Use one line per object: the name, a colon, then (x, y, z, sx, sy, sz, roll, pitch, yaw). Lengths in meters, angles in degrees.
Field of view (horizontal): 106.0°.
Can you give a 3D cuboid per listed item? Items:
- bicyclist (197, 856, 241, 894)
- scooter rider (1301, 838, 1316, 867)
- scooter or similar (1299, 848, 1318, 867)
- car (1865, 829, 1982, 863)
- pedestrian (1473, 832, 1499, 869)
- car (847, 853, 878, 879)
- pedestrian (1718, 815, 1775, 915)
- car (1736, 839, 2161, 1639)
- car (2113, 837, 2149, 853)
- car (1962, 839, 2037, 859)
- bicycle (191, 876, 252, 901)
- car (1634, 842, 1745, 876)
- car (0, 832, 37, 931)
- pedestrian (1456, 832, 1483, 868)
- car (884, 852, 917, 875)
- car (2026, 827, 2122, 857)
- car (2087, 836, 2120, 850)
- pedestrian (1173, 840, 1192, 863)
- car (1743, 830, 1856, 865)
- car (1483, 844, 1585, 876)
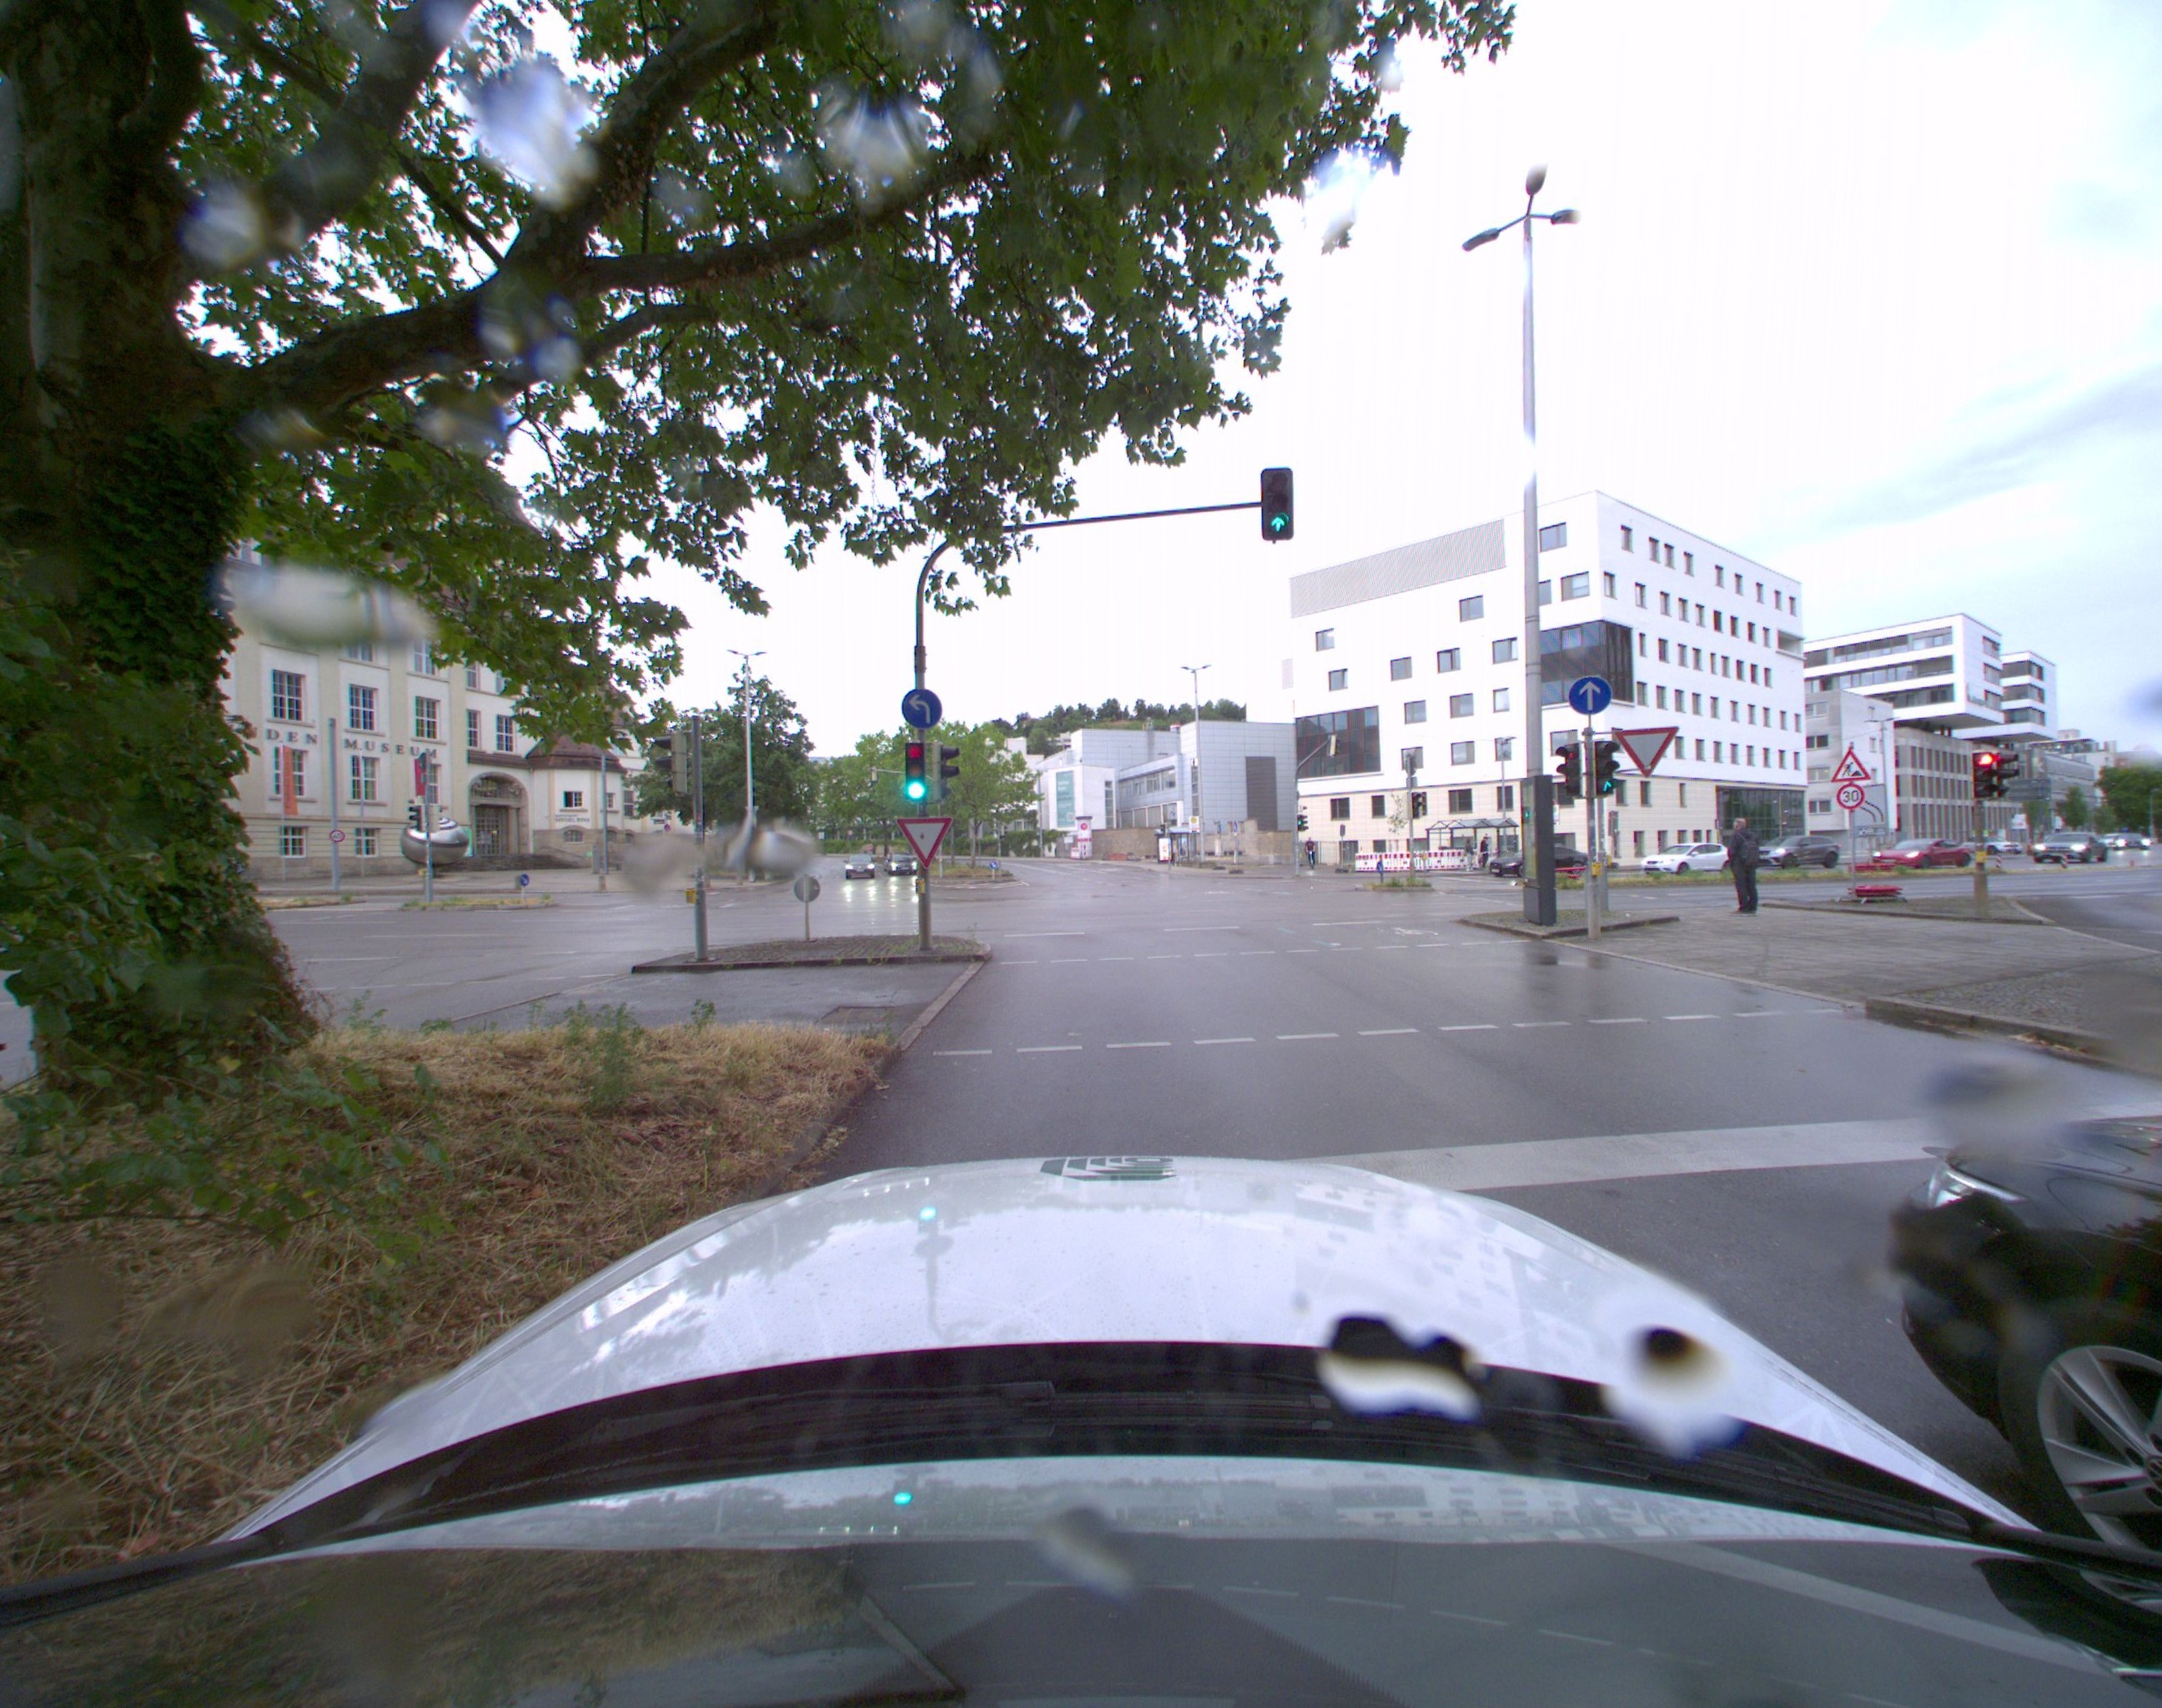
bicyclist: (-38.159, 0.921, 36.071, 1.124, 1.633, 0.700, 0, -1, -8)
scooter rider: (15.138, -0.087, 54.111, 0.725, 1.883, 0.628, 1, -1, -18)
scooter or similar: (15.106, 0.236, 54.110, 0.593, 1.239, 1.305, 1, -1, -19)
car: (40.527, -0.350, 39.191, 4.520, 1.557, 1.957, 0, 0, -14)
pedestrian: (21.866, -0.182, 43.978, 0.995, 1.935, 0.957, 0, -1, 11)
car: (-14.586, 0.779, 54.279, 1.871, 1.564, 4.254, -2, 1, -15)
pedestrian: (13.020, 0.218, 15.958, 0.819, 1.892, 1.034, -1, -2, 39)
car: (2.812, 0.732, 0.234, 1.664, 1.466, 4.513, -1, 1, 1)
car: (96.736, -0.822, 75.077, 4.179, 1.450, 1.944, 0, 0, -39)
car: (76.077, -0.402, 67.550, 1.949, 1.557, 4.072, 0, 0, 8)
bicycle: (-38.068, 1.519, 36.078, 1.815, 1.056, 0.646, -1, -1, -9)
car: (26.808, 0.211, 35.893, 3.991, 1.444, 1.790, 0, 0, -13)
car: (-30.270, 0.737, 20.643, 5.980, 2.494, 2.072, -1, 1, 10)
pedestrian: (20.065, -0.212, 42.034, 0.951, 1.840, 0.821, 0, -1, -10)
car: (-12.898, 0.652, 58.190, 1.795, 1.585, 3.973, -2, 1, -20)
car: (54.114, -0.642, 44.394, 4.157, 1.537, 1.955, 0, 0, -18)
car: (104.704, -1.114, 83.425, 4.180, 1.450, 1.944, 0, 0, -40)
pedestrian: (7.695, -0.148, 61.769, 1.253, 1.719, 1.016, 0, -1, 0)
car: (36.232, -0.335, 41.115, 4.373, 1.664, 1.993, -1, 0, -10)
car: (20.946, 0.261, 37.696, 3.991, 1.444, 1.790, 0, 0, -13)
